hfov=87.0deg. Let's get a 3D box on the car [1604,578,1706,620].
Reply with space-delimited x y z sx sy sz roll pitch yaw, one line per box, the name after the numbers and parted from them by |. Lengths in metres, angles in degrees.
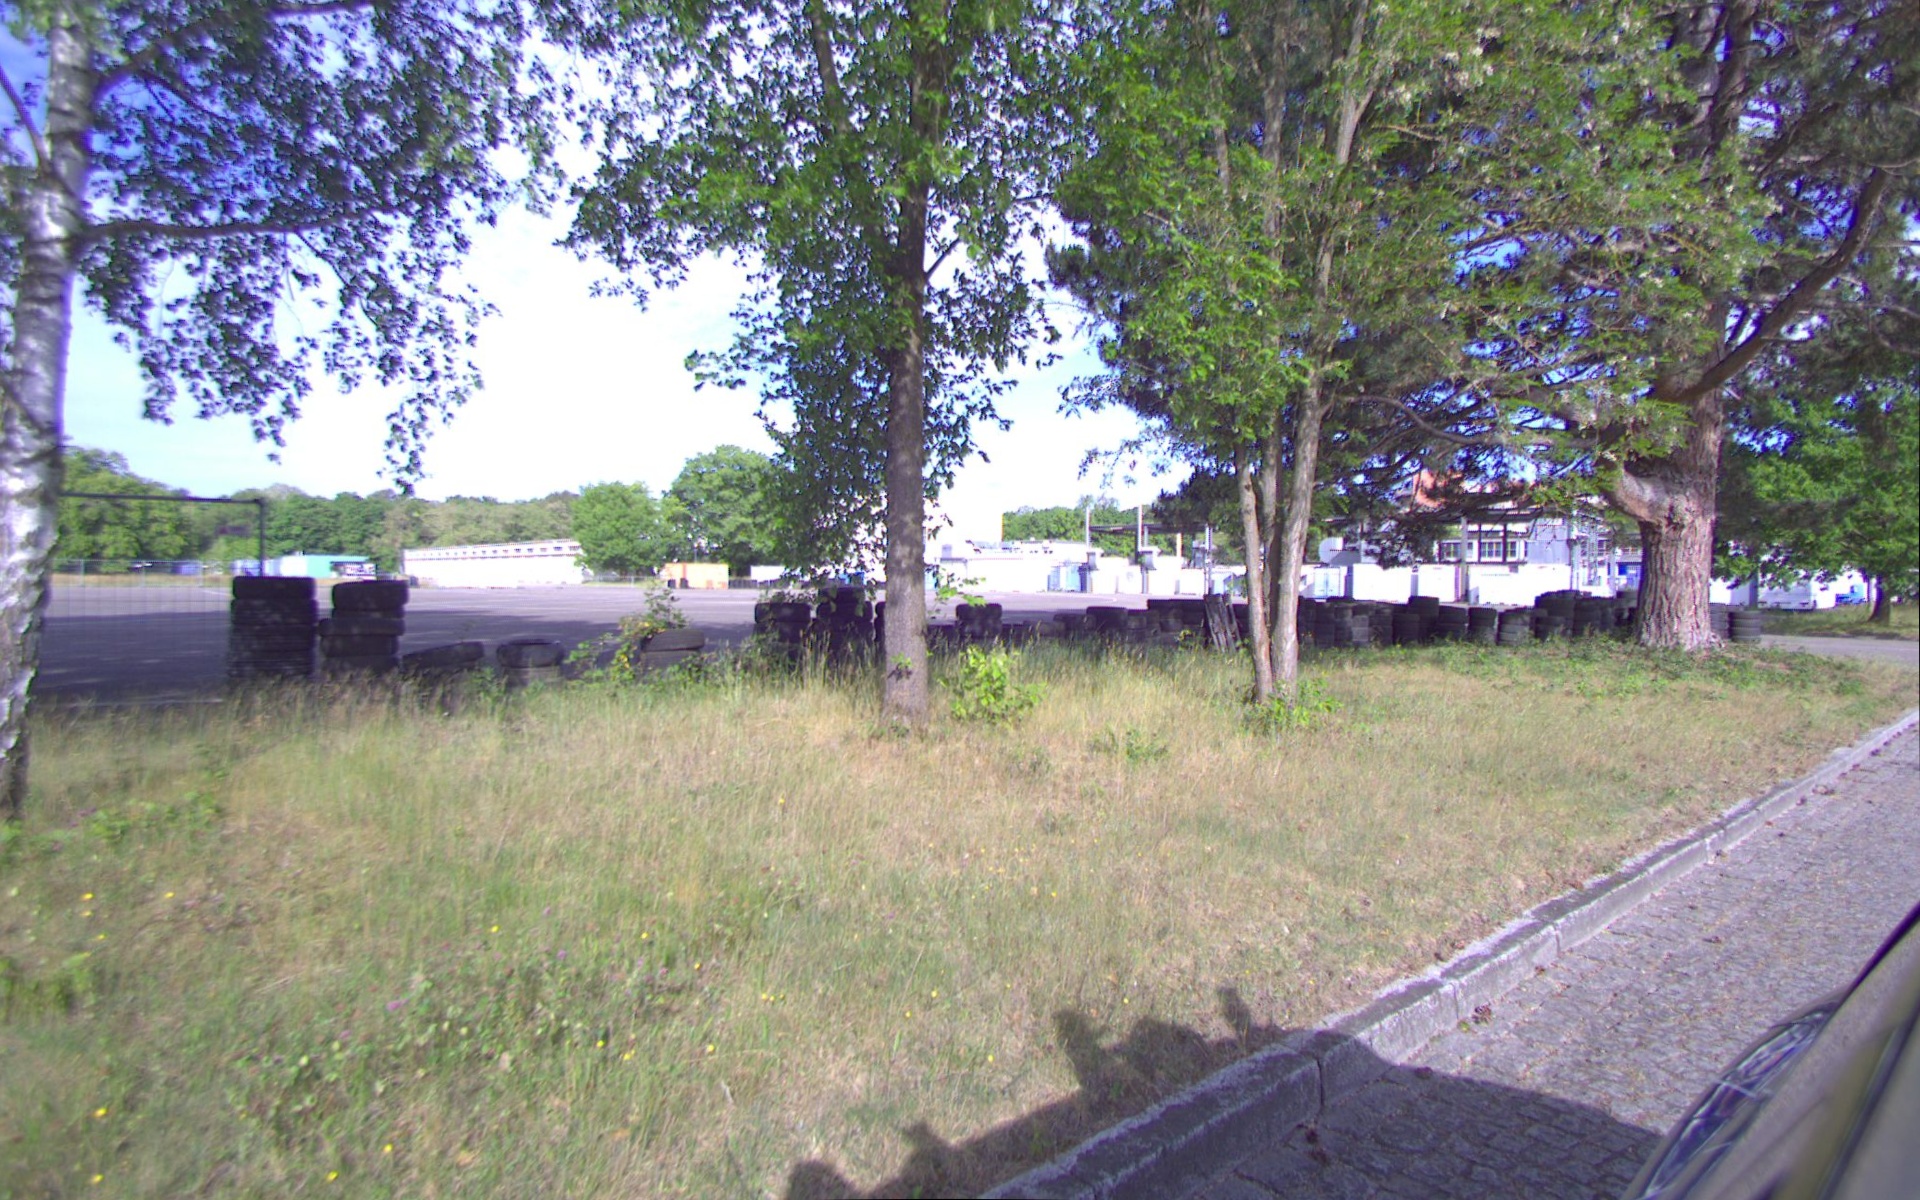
26.081 -0.060 37.951 3.923 1.467 1.849 0 2 -35 | car
